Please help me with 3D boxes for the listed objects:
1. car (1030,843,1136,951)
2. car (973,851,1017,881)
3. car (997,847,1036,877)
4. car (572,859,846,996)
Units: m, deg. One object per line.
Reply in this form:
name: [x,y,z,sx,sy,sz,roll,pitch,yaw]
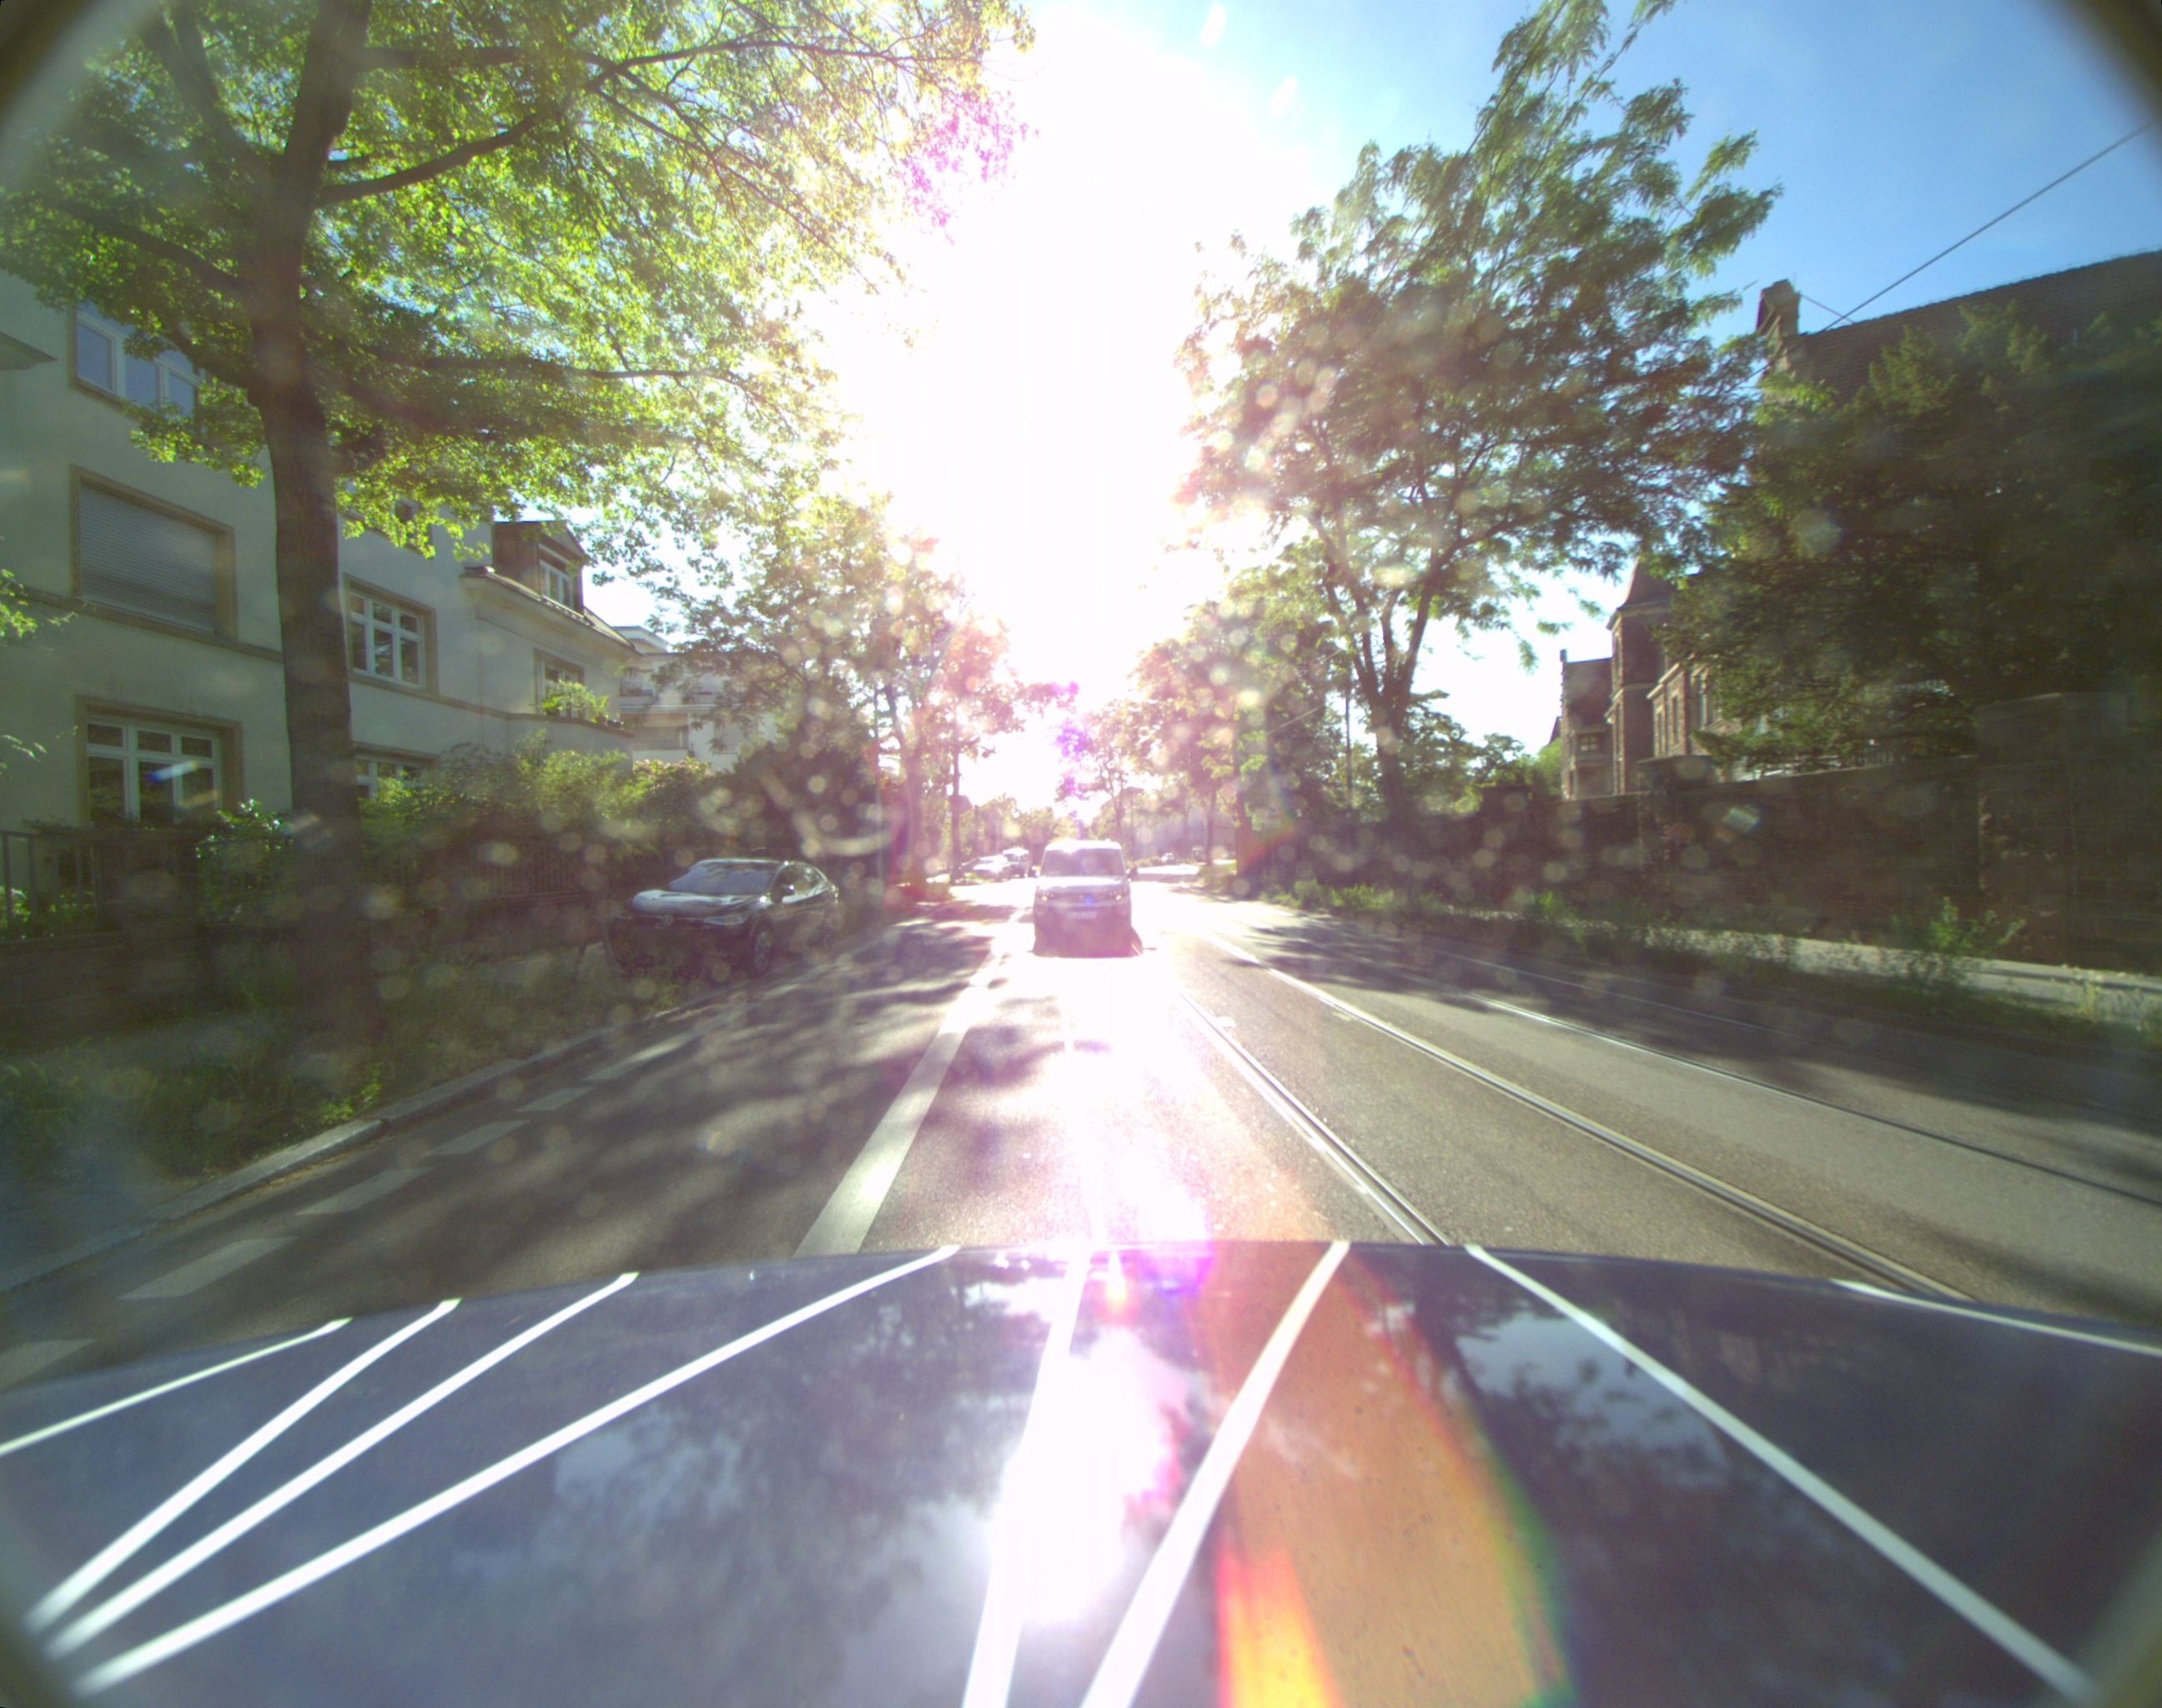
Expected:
car: [0.023,0.720,14.927,1.768,1.812,3.999,-1,0,0]
car: [-5.065,0.663,45.214,1.823,1.630,4.001,-2,0,4]
car: [-4.349,0.506,51.773,2.129,1.884,4.746,-2,0,1]
car: [-5.248,0.933,11.539,1.999,1.665,4.380,1,-1,0]
